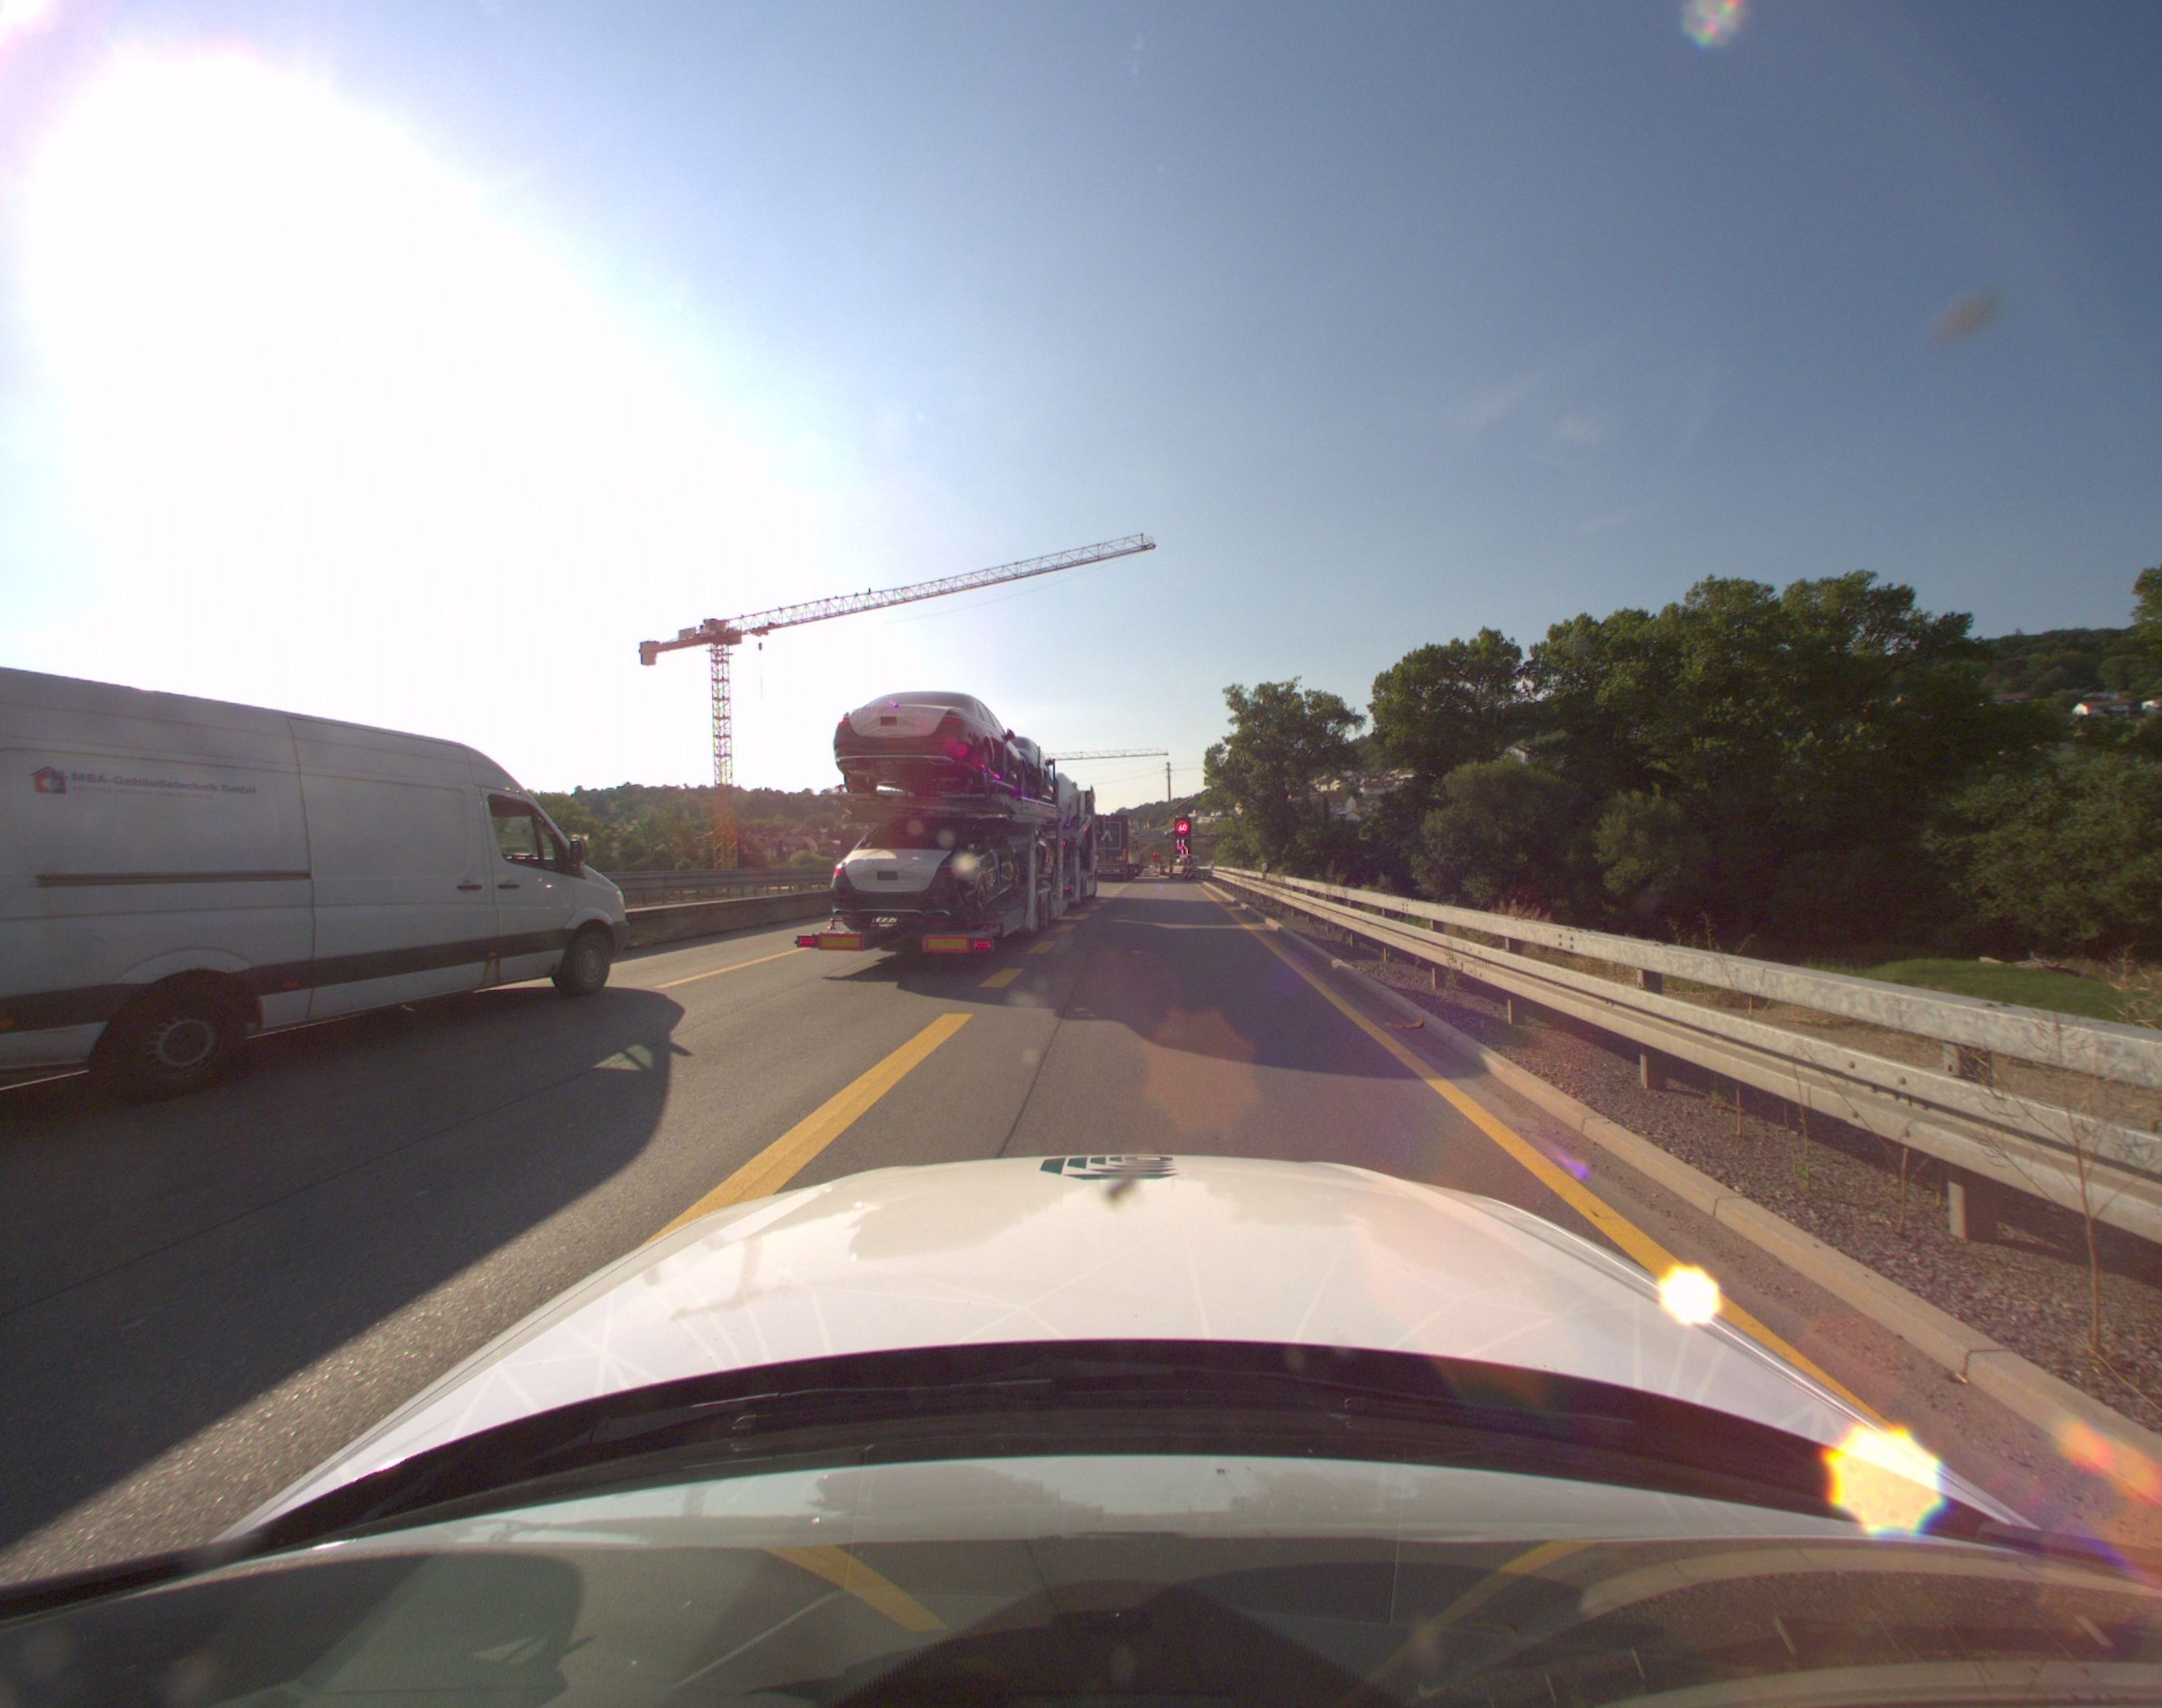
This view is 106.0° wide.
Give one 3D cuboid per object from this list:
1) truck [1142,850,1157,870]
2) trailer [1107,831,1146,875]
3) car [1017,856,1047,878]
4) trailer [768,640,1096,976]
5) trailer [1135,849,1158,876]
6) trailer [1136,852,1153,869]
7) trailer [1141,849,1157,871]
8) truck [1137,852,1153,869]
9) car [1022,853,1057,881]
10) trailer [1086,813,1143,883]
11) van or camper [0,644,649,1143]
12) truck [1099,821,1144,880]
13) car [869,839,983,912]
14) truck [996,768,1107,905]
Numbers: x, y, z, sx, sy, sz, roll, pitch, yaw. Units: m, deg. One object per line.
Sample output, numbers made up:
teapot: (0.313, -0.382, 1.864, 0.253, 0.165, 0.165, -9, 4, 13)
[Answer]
truck: (14.926, 1.285, 177.363, 3.083, 4.285, 6.633, -1, -1, 5)
trailer: (4.765, -0.067, 81.974, 3.369, 3.996, 14.765, -1, 0, 5)
car: (-3.842, 1.006, 64.114, 1.822, 1.654, 4.003, -3, -1, 3)
trailer: (-1.683, -0.505, 17.735, 2.843, 3.996, 15.767, -1, 0, 5)
trailer: (10.694, 1.301, 132.097, 3.369, 3.996, 14.765, -1, 0, 5)
trailer: (16.853, 1.726, 215.180, 4.077, 4.314, 14.271, -1, 0, 5)
trailer: (14.251, 1.248, 169.735, 3.089, 4.314, 14.271, -1, 0, 5)
truck: (17.413, 1.768, 221.706, 4.009, 4.285, 6.633, -1, -1, 5)
car: (-2.775, 0.846, 55.291, 1.822, 1.752, 4.003, -3, -1, 3)
trailer: (2.426, -0.317, 54.360, 2.944, 4.092, 10.811, -2, -1, 6)
van or camper: (-6.412, 0.227, 6.790, 1.983, 2.620, 5.913, -1, 0, 6)
truck: (3.070, -0.218, 60.122, 2.870, 3.996, 6.636, -1, -1, 6)
car: (-4.530, 0.568, 24.650, 2.018, 1.981, 4.988, 0, 0, 6)
truck: (-0.793, -0.488, 27.473, 2.835, 3.996, 6.633, -1, -1, 5)
